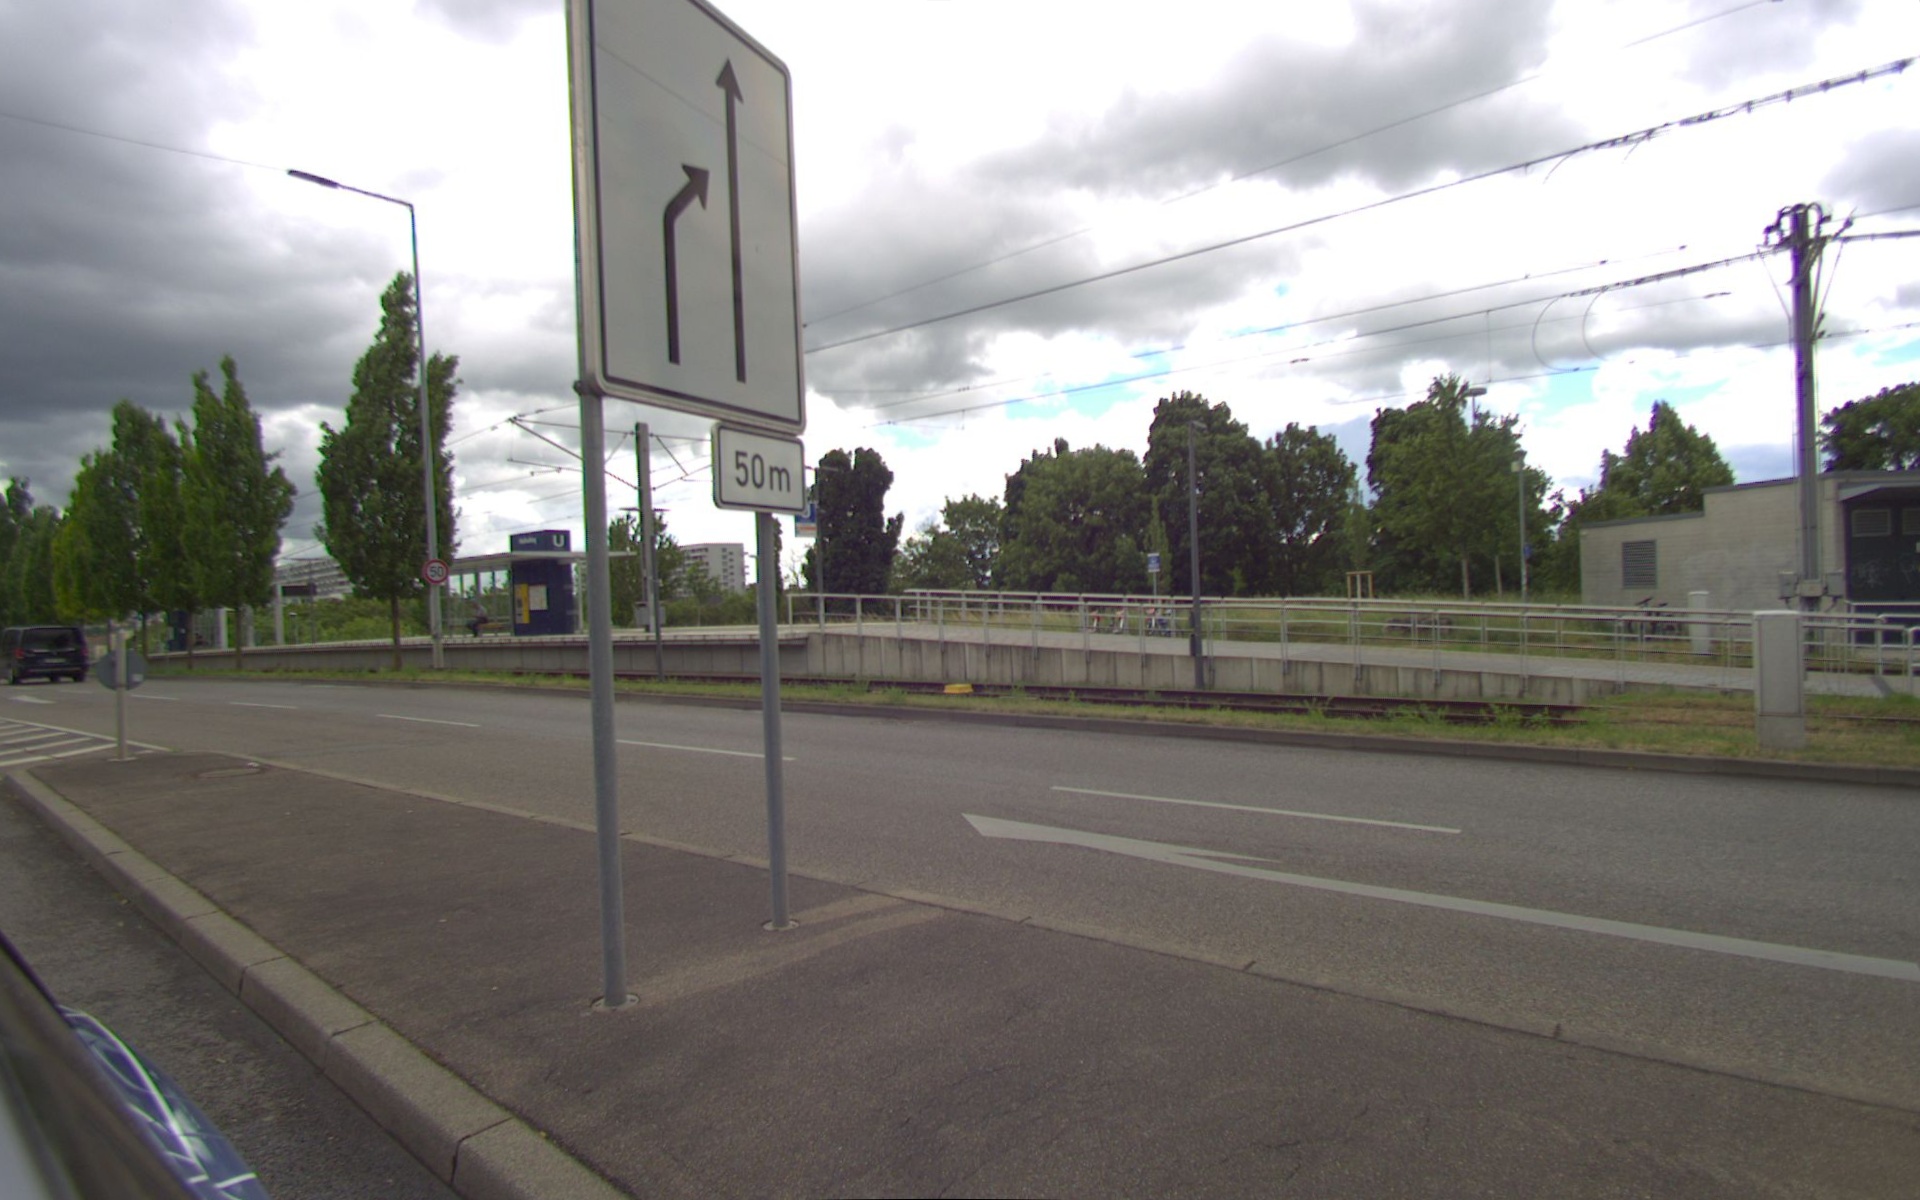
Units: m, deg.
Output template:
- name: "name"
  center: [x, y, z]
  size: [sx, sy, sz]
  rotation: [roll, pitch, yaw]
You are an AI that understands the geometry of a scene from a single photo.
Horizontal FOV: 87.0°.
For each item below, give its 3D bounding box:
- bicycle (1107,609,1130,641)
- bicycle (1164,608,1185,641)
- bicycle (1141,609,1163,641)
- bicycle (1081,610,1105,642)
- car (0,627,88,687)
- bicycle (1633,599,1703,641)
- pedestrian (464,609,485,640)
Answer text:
- name: "bicycle"
  center: [5.403, 0.850, 34.445]
  size: [0.531, 1.039, 1.804]
  rotation: [-1, 0, 16]
- name: "bicycle"
  center: [7.147, 0.805, 33.715]
  size: [0.531, 1.039, 1.804]
  rotation: [-1, 0, 16]
- name: "bicycle"
  center: [6.459, 0.825, 33.992]
  size: [0.531, 1.039, 1.804]
  rotation: [-1, 0, 16]
- name: "bicycle"
  center: [4.603, 0.884, 34.952]
  size: [0.531, 1.039, 1.804]
  rotation: [-1, 0, 16]
- name: "car"
  center: [-31.050, 1.888, 33.815]
  size: [5.083, 1.826, 1.870]
  rotation: [-2, -2, 37]
- name: "bicycle"
  center: [18.232, 0.504, 26.102]
  size: [0.529, 1.039, 1.813]
  rotation: [-1, 0, 1]
- name: "pedestrian"
  center: [-18.213, 0.907, 37.952]
  size: [0.447, 1.163, 0.593]
  rotation: [-1, 0, 41]
